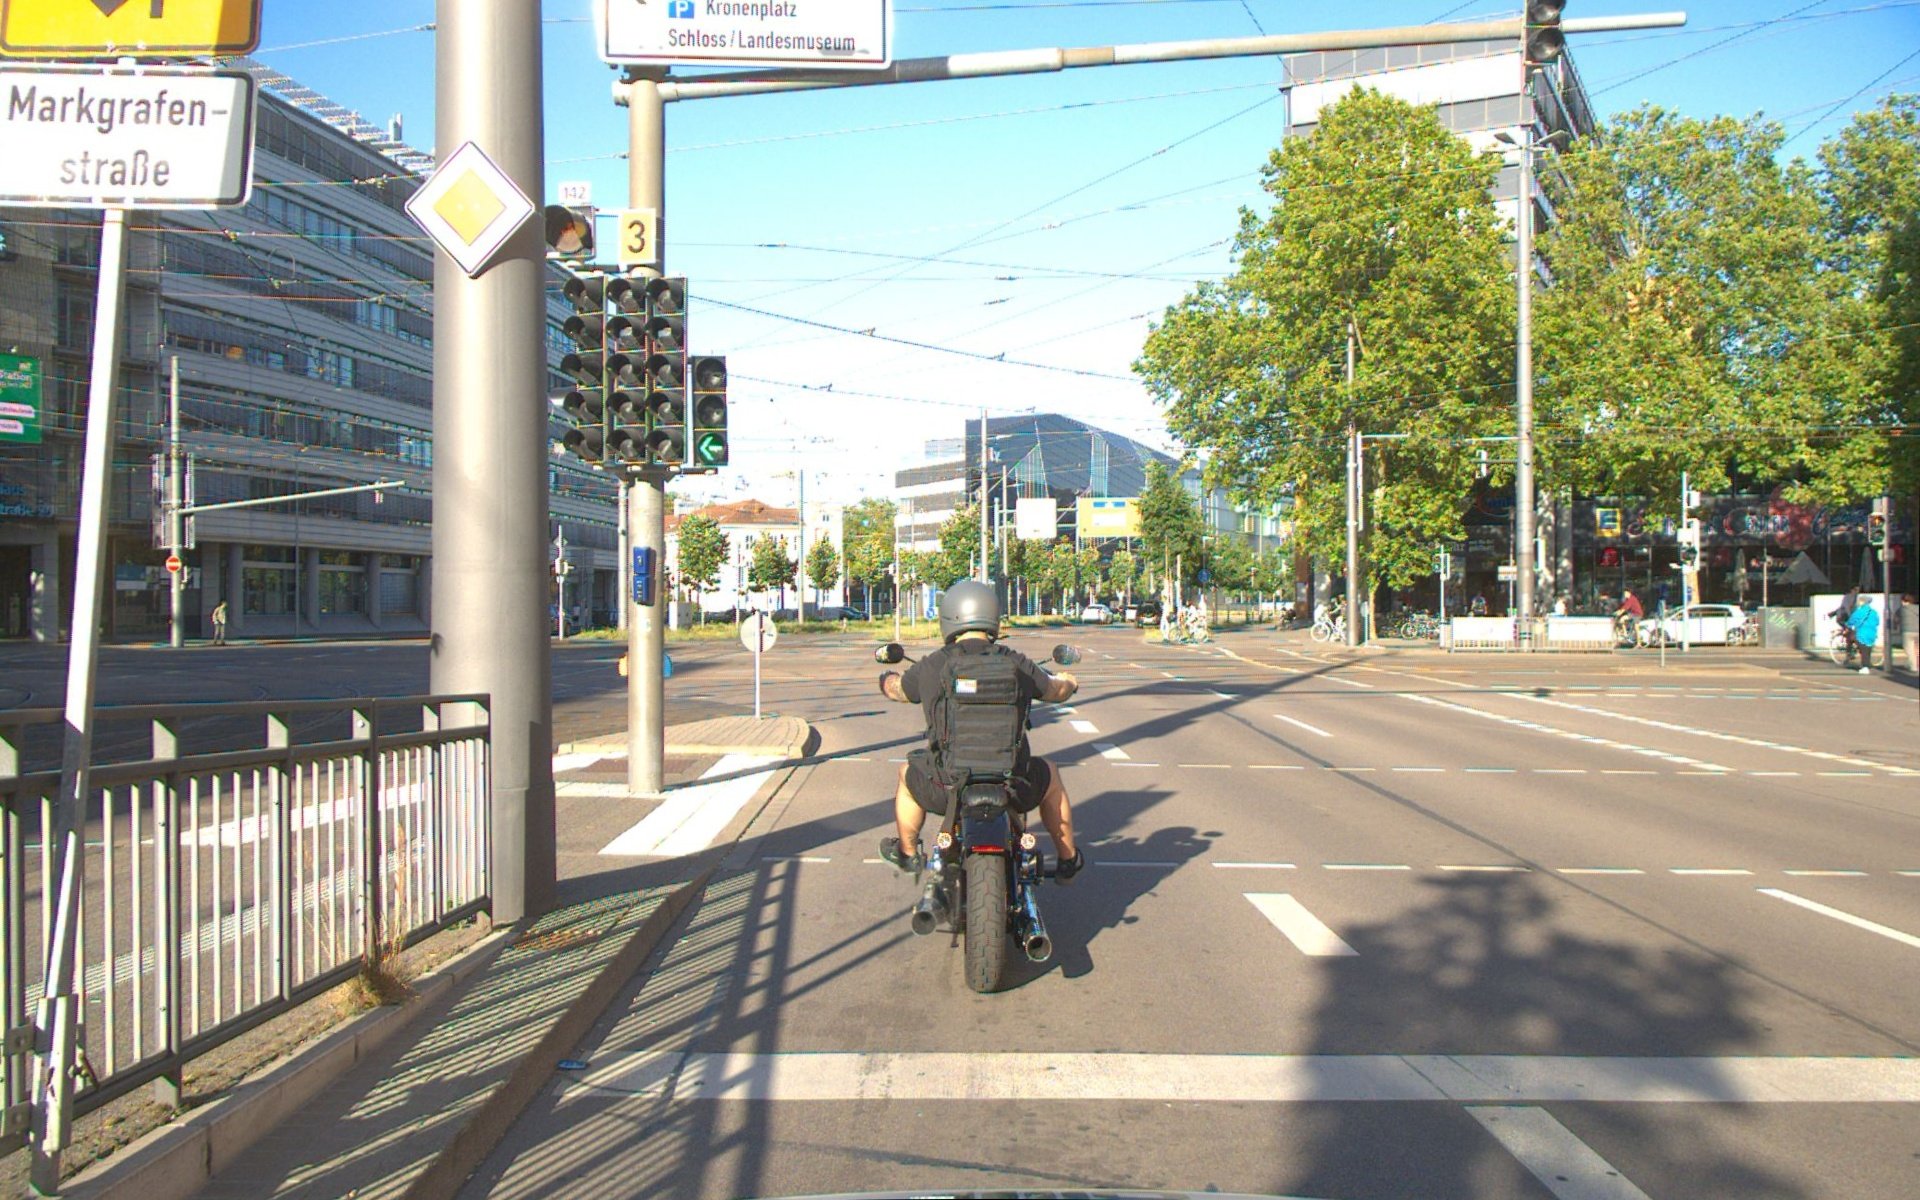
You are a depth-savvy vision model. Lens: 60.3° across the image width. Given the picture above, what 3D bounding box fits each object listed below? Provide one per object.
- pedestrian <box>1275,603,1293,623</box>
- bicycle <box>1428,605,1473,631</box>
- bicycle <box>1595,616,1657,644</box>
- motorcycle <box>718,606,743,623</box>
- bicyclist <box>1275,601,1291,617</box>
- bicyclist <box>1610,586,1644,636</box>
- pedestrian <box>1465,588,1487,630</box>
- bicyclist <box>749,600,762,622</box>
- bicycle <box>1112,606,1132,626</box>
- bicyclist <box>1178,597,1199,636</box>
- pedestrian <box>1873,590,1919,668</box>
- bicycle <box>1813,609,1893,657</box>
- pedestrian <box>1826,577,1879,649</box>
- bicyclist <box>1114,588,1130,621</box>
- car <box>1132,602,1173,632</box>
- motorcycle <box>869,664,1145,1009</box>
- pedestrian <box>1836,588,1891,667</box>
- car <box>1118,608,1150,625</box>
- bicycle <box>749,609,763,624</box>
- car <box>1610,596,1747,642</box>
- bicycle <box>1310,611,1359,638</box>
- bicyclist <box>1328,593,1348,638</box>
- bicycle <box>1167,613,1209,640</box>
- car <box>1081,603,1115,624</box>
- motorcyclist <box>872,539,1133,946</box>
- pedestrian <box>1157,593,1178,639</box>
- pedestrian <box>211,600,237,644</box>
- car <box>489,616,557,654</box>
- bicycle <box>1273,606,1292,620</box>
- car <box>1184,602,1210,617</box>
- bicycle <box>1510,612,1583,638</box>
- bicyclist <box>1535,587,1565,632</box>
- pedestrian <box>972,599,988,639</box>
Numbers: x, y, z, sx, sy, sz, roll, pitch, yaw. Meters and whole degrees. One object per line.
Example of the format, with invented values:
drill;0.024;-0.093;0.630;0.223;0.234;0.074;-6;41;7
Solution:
pedestrian;17.516;0.719;89.400;0.768;1.075;0.814;-1;0;22
bicycle;19.059;0.697;64.298;1.668;1.003;0.391;-1;0;13
bicycle;22.321;0.994;55.416;1.814;0.926;0.652;0;0;3
motorcycle;-16.940;1.050;122.003;0.962;1.253;2.945;0;0;10
bicyclist;27.251;0.763;139.631;1.019;1.405;1.564;0;0;22
bicyclist;22.353;0.362;55.420;0.906;1.643;0.638;0;0;3
pedestrian;23.759;0.406;76.132;0.829;1.884;0.810;2;0;13
bicyclist;-16.178;0.869;130.943;0.747;1.696;0.994;0;0;8
bicycle;13.123;1.264;133.766;0.994;1.607;3.576;0;0;16
bicyclist;9.095;0.644;65.830;0.727;1.529;0.570;-1;-1;23
pedestrian;19.078;0.592;33.559;0.638;1.566;0.741;1;-1;-8
bicycle;20.469;0.747;37.962;0.773;1.070;1.922;1;-1;-1
pedestrian;20.491;0.304;37.991;0.754;1.622;0.838;1;-1;-1
bicyclist;13.077;0.355;133.753;0.994;2.670;1.473;0;0;16
car;12.957;1.158;111.062;2.010;1.906;4.229;1;-1;17
motorcycle;0.153;0.904;7.162;0.985;1.145;2.322;1;0;-1
pedestrian;18.174;0.547;33.282;0.662;1.566;0.741;1;-1;-8
car;14.845;1.433;140.804;1.973;1.400;4.041;0;0;17
bicycle;-16.181;1.287;130.965;0.628;1.127;1.686;0;0;10
car;24.838;0.654;57.286;3.903;1.512;2.001;1;-1;3
bicycle;14.479;0.942;63.923;1.813;1.039;0.517;-1;-1;11
bicyclist;14.606;0.586;63.894;0.727;1.724;0.570;-1;-1;10
bicycle;9.078;1.057;65.836;1.594;1.039;0.516;-1;-1;23
car;10.395;1.002;124.583;1.861;1.534;4.003;1;-1;15
motorcyclist;0.159;0.559;7.133;1.001;1.579;1.286;1;0;-1
pedestrian;8.514;0.665;67.905;0.688;1.869;0.513;0;-1;35
pedestrian;-31.511;0.949;70.791;0.661;1.855;0.886;-2;-1;3
car;-18.721;1.467;71.009;1.755;1.491;4.310;-1;1;-1
bicycle;27.258;1.086;139.951;1.019;1.153;3.180;0;0;21
car;23.505;0.946;163.954;1.685;1.510;3.754;0;0;21
bicycle;25.556;1.075;72.088;2.977;1.133;0.835;0;0;17
bicyclist;25.691;0.407;72.061;1.200;1.965;0.835;0;0;17
pedestrian;0.827;0.777;67.405;0.643;1.610;0.489;0;0;3
